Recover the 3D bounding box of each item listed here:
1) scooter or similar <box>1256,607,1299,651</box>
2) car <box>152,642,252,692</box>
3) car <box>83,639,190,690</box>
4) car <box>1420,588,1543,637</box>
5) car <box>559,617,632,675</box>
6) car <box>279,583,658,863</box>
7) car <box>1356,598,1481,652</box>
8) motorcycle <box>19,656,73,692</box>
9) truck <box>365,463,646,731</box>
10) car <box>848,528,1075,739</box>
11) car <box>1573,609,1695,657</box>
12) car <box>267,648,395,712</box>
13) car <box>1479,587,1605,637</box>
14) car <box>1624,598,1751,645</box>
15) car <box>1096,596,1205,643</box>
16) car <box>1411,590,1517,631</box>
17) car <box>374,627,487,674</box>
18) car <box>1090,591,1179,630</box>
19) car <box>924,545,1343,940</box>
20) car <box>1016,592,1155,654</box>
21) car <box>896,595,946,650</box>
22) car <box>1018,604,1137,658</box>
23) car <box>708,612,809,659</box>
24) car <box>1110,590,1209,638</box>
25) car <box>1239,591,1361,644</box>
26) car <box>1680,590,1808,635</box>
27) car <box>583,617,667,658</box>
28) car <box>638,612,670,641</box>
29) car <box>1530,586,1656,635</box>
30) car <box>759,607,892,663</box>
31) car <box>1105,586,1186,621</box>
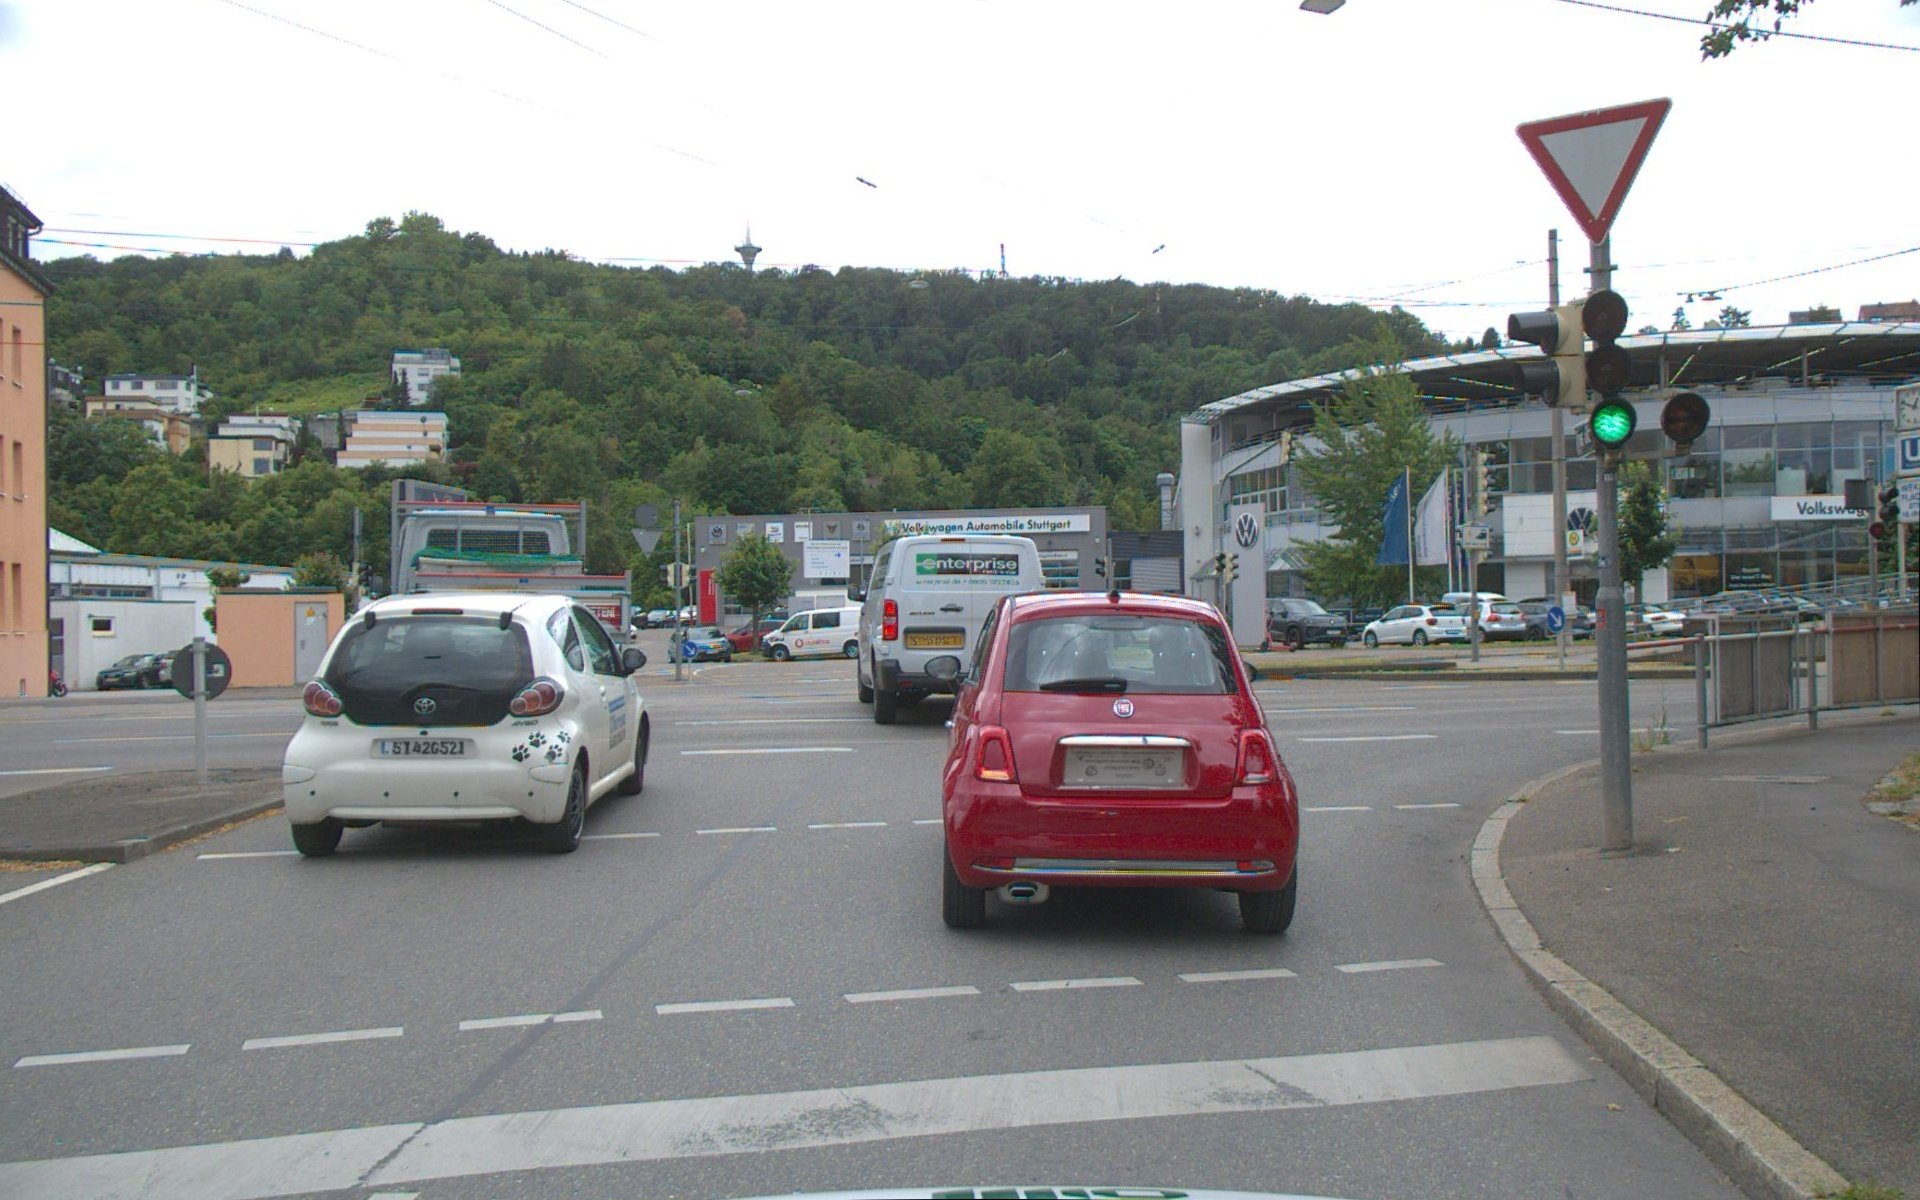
[{"bbox_3d":[9.853,0.917,51.381,1.176,1.311,0.575,2,-2,-3],"label":"scooter or similar"},{"bbox_3d":[-30.520,2.698,66.778,1.953,1.871,4.508,2,-2,-2],"label":"car"},{"bbox_3d":[-33.012,2.581,66.438,1.953,1.871,4.509,2,-2,-1],"label":"car"},{"bbox_3d":[17.731,0.447,56.407,1.785,1.503,3.968,3,-2,-25],"label":"car"},{"bbox_3d":[-12.880,1.650,58.706,2.037,1.886,4.898,3,-2,-8],"label":"car"},{"bbox_3d":[-2.928,0.638,10.529,1.562,1.445,3.371,-2,1,-4],"label":"car"},{"bbox_3d":[15.385,0.861,55.697,1.968,1.669,3.968,3,-2,-25],"label":"car"},{"bbox_3d":[-27.443,2.213,49.667,1.671,1.001,0.528,1,-2,27],"label":"motorcycle"},{"bbox_3d":[-5.198,0.086,18.252,2.282,2.464,5.613,0,-2,-23],"label":"truck"},{"bbox_3d":[-0.135,0.302,19.158,1.961,2.076,4.824,2,1,-7],"label":"car"},{"bbox_3d":[24.181,1.187,59.465,1.701,1.581,3.968,3,-2,-25],"label":"car"},{"bbox_3d":[-24.477,3.116,64.537,4.424,2.282,1.990,3,-2,-17],"label":"car"},{"bbox_3d":[20.122,0.435,57.346,1.896,1.581,3.968,3,-2,-25],"label":"car"},{"bbox_3d":[26.393,0.783,60.099,1.896,1.581,3.968,3,-2,-25],"label":"car"},{"bbox_3d":[8.081,0.845,70.470,4.403,1.759,2.000,2,-2,1],"label":"car"},{"bbox_3d":[21.172,0.448,69.608,1.903,1.581,3.954,4,-2,-33],"label":"car"},{"bbox_3d":[-18.194,1.708,56.817,3.513,1.512,1.590,-1,-1,-25],"label":"car"},{"bbox_3d":[8.995,0.553,85.628,4.403,1.759,2.000,2,-2,1],"label":"car"},{"bbox_3d":[0.826,0.609,8.833,1.662,1.552,4.001,3,-1,3],"label":"car"},{"bbox_3d":[3.883,0.690,50.845,3.903,1.668,2.002,2,2,16],"label":"car"},{"bbox_3d":[-1.613,0.975,68.781,1.953,2.049,5.015,-2,-3,-1],"label":"car"},{"bbox_3d":[4.212,1.140,59.436,3.911,1.736,1.997,3,-2,-7],"label":"car"},{"bbox_3d":[-9.583,1.709,78.924,4.403,2.032,2.000,2,-2,1],"label":"car"},{"bbox_3d":[9.434,0.668,78.445,4.403,2.032,2.000,2,-2,1],"label":"car"},{"bbox_3d":[11.094,0.584,54.234,1.968,1.669,3.968,0,-1,-25],"label":"car"},{"bbox_3d":[28.701,0.467,60.678,1.897,1.581,3.968,-1,0,-25],"label":"car"},{"bbox_3d":[-18.407,2.077,90.994,4.415,2.032,1.994,3,-2,-11],"label":"car"},{"bbox_3d":[-22.591,1.968,122.285,1.955,2.032,4.503,3,-2,-7],"label":"car"},{"bbox_3d":[22.297,0.399,58.401,1.896,1.581,3.968,3,-2,-25],"label":"car"},{"bbox_3d":[-5.313,1.412,65.679,4.895,2.049,2.001,-2,-3,7],"label":"car"},{"bbox_3d":[10.634,0.201,95.112,4.403,1.759,2.000,2,-2,1],"label":"car"}]
